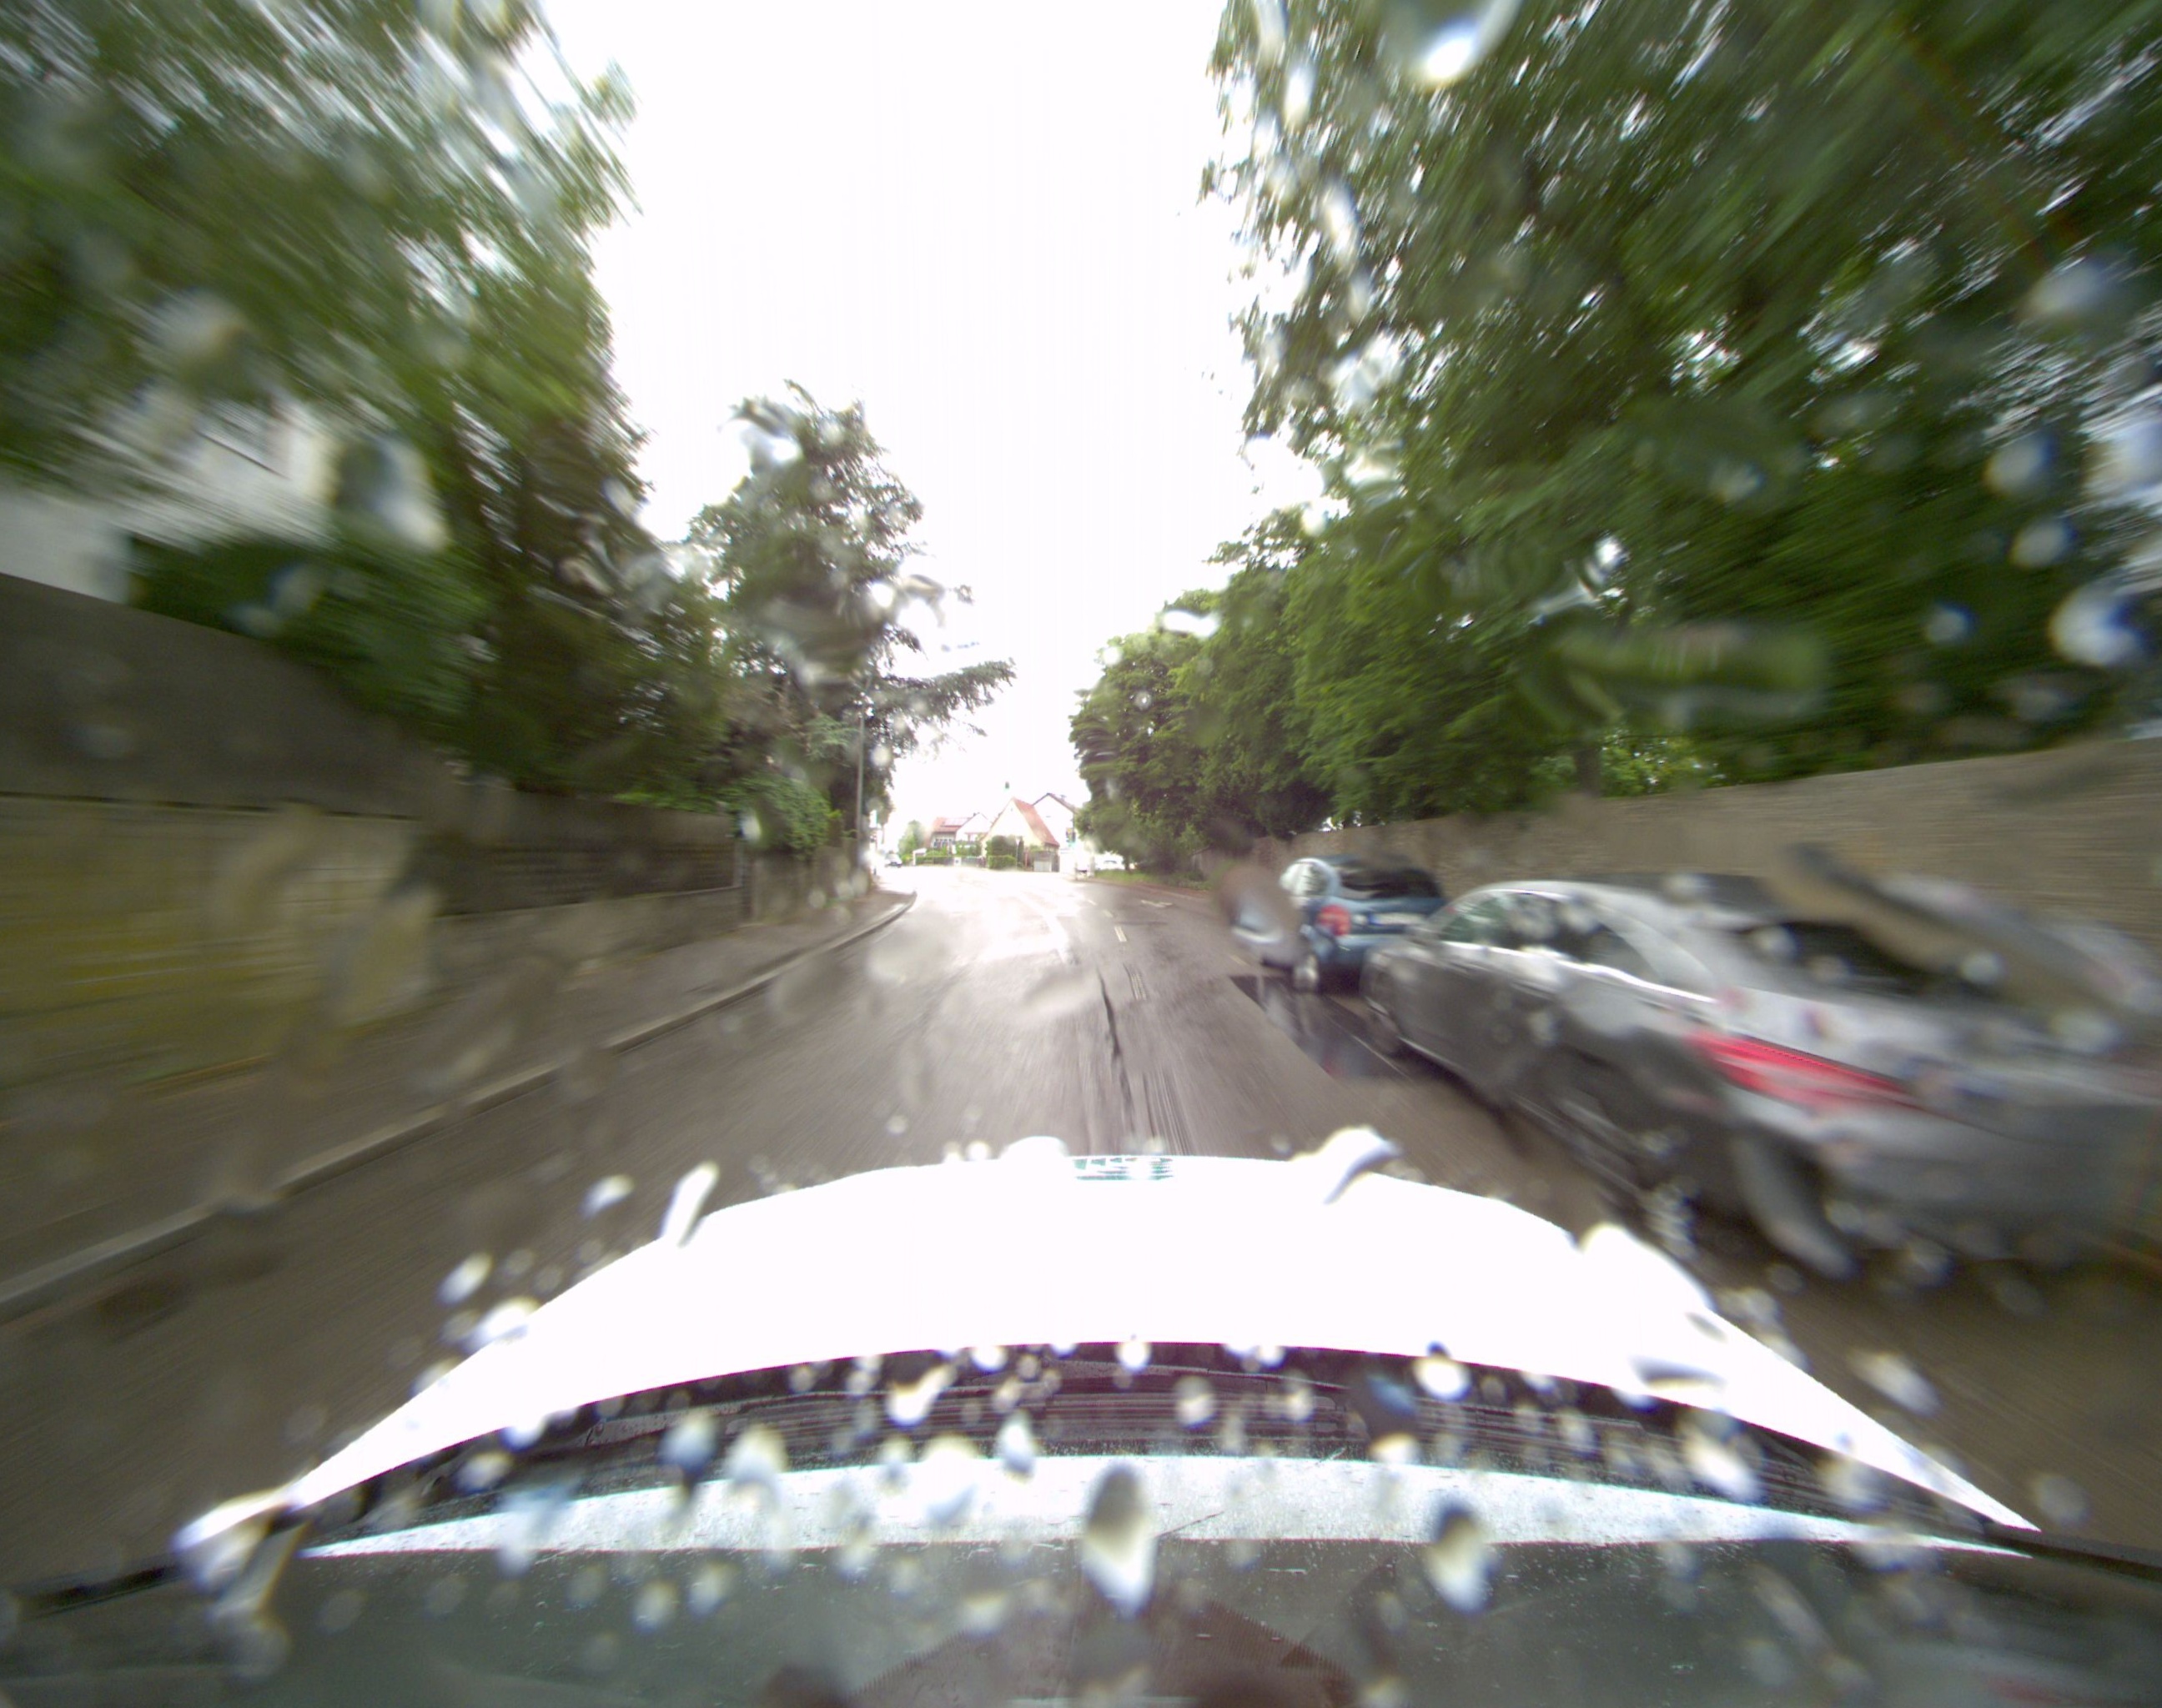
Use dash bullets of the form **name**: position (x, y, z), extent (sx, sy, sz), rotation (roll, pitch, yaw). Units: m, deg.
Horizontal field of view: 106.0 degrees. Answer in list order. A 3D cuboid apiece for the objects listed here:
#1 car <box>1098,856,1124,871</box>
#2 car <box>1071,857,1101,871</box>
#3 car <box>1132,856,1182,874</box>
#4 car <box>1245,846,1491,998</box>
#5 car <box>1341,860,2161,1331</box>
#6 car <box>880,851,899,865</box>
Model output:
- **car**: position (3.072, 0.959, 83.673), extent (1.980, 1.530, 4.014), rotation (0, 0, 12)
- **car**: position (0.551, 1.013, 84.050), extent (1.978, 1.398, 4.169), rotation (0, 0, 17)
- **car**: position (6.592, 0.962, 70.999), extent (4.166, 1.442, 1.831), rotation (1, 0, -4)
- **car**: position (3.314, 0.694, 10.204), extent (1.783, 1.533, 3.801), rotation (-1, 0, 1)
- **car**: position (3.207, 0.779, 4.814), extent (1.986, 1.419, 4.485), rotation (-1, 0, 1)
- **car**: position (-22.592, 0.466, 96.001), extent (1.998, 1.706, 3.978), rotation (0, 0, -17)
